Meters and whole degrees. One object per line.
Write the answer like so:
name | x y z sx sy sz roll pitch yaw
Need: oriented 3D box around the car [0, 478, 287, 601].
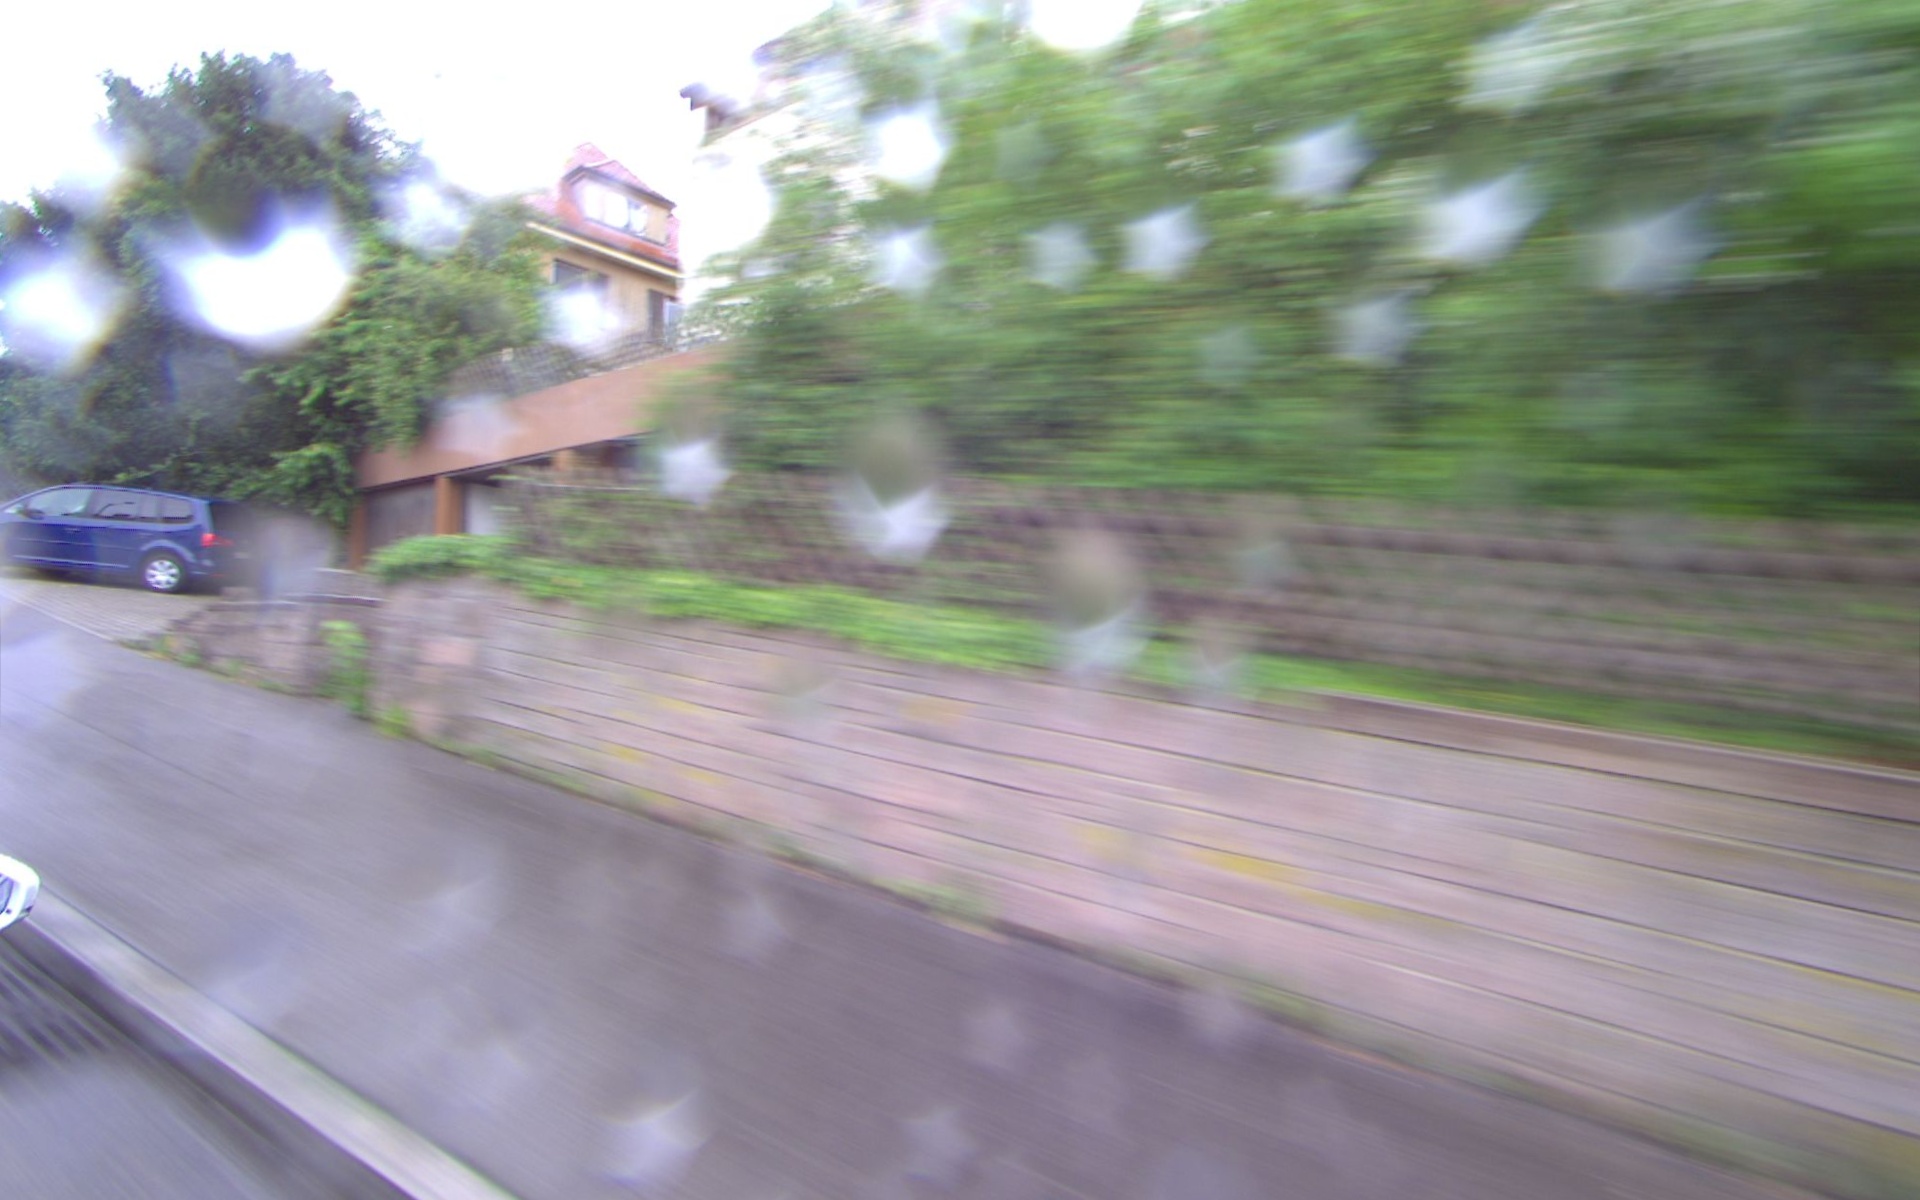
car | -14.025 -1.028 16.747 4.263 1.629 1.851 5 4 -8
